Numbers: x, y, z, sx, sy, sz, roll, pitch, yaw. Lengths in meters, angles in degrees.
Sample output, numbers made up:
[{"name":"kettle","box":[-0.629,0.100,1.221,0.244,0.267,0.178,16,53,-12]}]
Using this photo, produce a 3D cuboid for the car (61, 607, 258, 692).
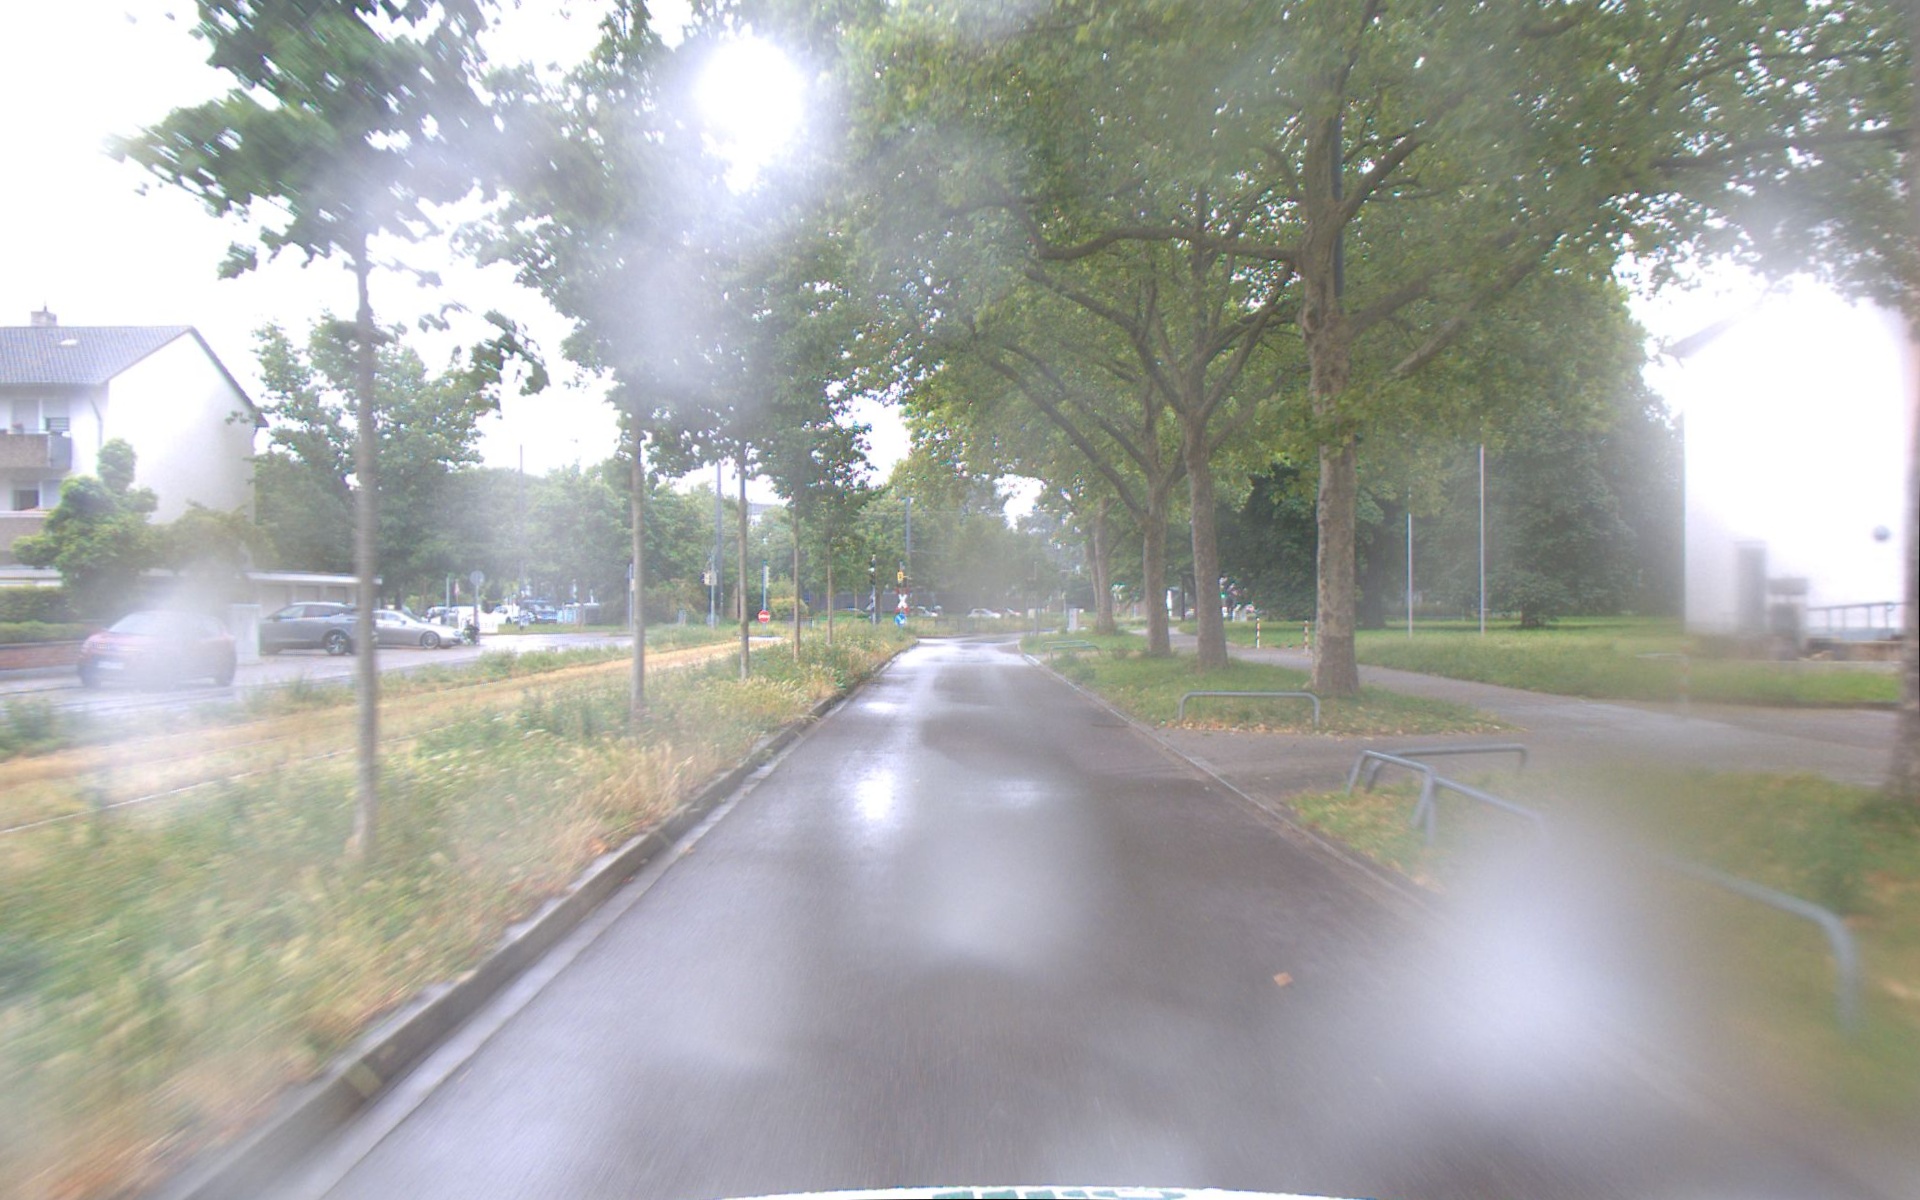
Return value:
[{"name":"car","box":[-16.017,0.949,33.356,1.953,1.514,4.204,1,0,-1]}]

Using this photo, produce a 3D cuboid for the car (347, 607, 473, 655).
[{"name":"car","box":[-19.941,1.103,60.087,3.908,1.645,1.999,-1,0,-4]}]

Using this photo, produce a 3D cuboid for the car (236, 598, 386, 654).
[{"name":"car","box":[-20.295,0.799,51.841,3.908,1.645,1.999,-1,0,-4]}]
